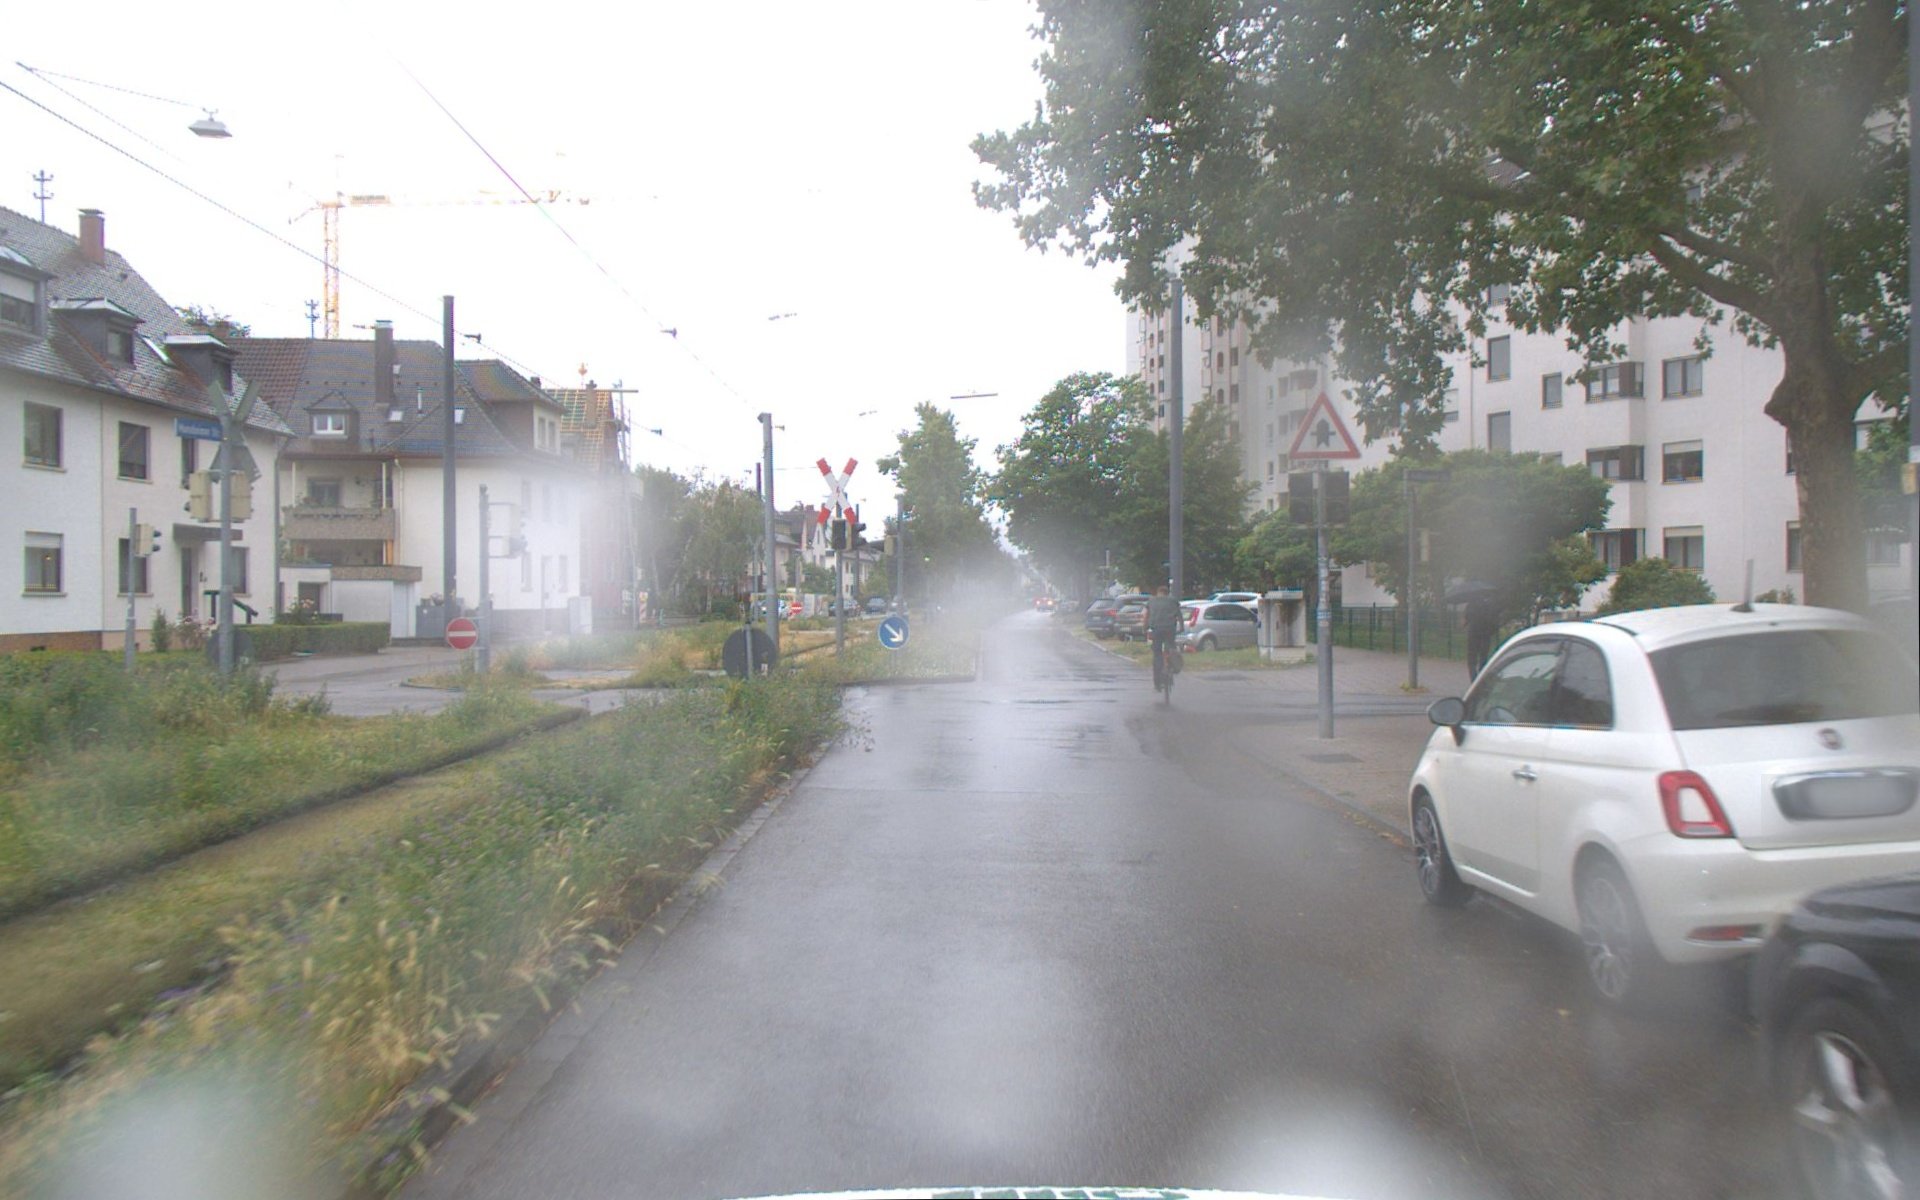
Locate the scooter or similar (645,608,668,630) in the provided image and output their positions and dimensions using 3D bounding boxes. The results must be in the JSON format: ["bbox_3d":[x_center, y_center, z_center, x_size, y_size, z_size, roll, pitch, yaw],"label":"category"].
[{"bbox_3d":[-15.694,0.991,85.585,0.432,1.149,1.280,0,0,32],"label":"scooter or similar"}]

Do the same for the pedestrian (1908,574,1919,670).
[{"bbox_3d":[18.553,0.403,31.009,1.154,1.799,0.720,0,0,-2],"label":"pedestrian"}]

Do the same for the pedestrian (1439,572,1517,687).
[{"bbox_3d":[8.562,0.468,27.383,1.076,1.845,1.435,0,0,11],"label":"pedestrian"}]

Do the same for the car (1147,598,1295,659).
[{"bbox_3d":[7.271,0.781,45.972,3.953,1.534,1.762,-1,-2,-35],"label":"car"}]

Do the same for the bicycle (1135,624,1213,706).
[{"bbox_3d":[3.170,0.940,24.682,0.793,1.116,2.517,-1,0,-1],"label":"bicycle"}]

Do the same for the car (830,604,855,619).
[{"bbox_3d":[-10.207,0.987,143.807,1.628,1.266,4.073,2,0,3],"label":"car"}]

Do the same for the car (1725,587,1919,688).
[{"bbox_3d":[16.085,0.638,29.261,4.203,1.710,1.872,-1,-1,3],"label":"car"}]

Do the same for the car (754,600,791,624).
[{"bbox_3d":[-12.948,0.823,114.396,1.674,1.569,4.424,2,0,4],"label":"car"}]

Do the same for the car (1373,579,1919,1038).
[{"bbox_3d":[3.211,0.701,7.634,1.526,1.545,3.999,-1,0,-1],"label":"car"}]

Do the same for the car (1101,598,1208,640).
[{"bbox_3d":[7.224,0.693,61.351,3.962,1.454,1.710,-1,0,-40],"label":"car"}]

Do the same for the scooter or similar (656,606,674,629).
[{"bbox_3d":[-15.805,0.949,88.692,0.385,1.201,1.283,0,0,17],"label":"scooter or similar"}]

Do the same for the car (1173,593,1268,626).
[{"bbox_3d":[14.188,0.506,90.181,4.720,1.776,1.993,0,0,-13],"label":"car"}]

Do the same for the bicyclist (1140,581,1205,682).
[{"bbox_3d":[3.165,0.461,24.717,0.793,1.458,1.060,-1,0,-1],"label":"bicyclist"}]

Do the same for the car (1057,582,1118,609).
[{"bbox_3d":[9.481,-0.331,123.094,4.091,1.749,1.980,-3,1,-30],"label":"car"}]

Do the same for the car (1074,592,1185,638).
[{"bbox_3d":[6.622,0.559,64.386,4.308,1.680,1.831,-1,0,-40],"label":"car"}]

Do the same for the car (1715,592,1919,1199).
[{"bbox_3d":[3.029,0.709,2.399,1.861,1.474,4.183,-1,0,-2],"label":"car"}]

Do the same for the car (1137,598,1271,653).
[{"bbox_3d":[7.308,0.753,49.351,3.959,1.534,1.682,-1,-2,-38],"label":"car"}]
